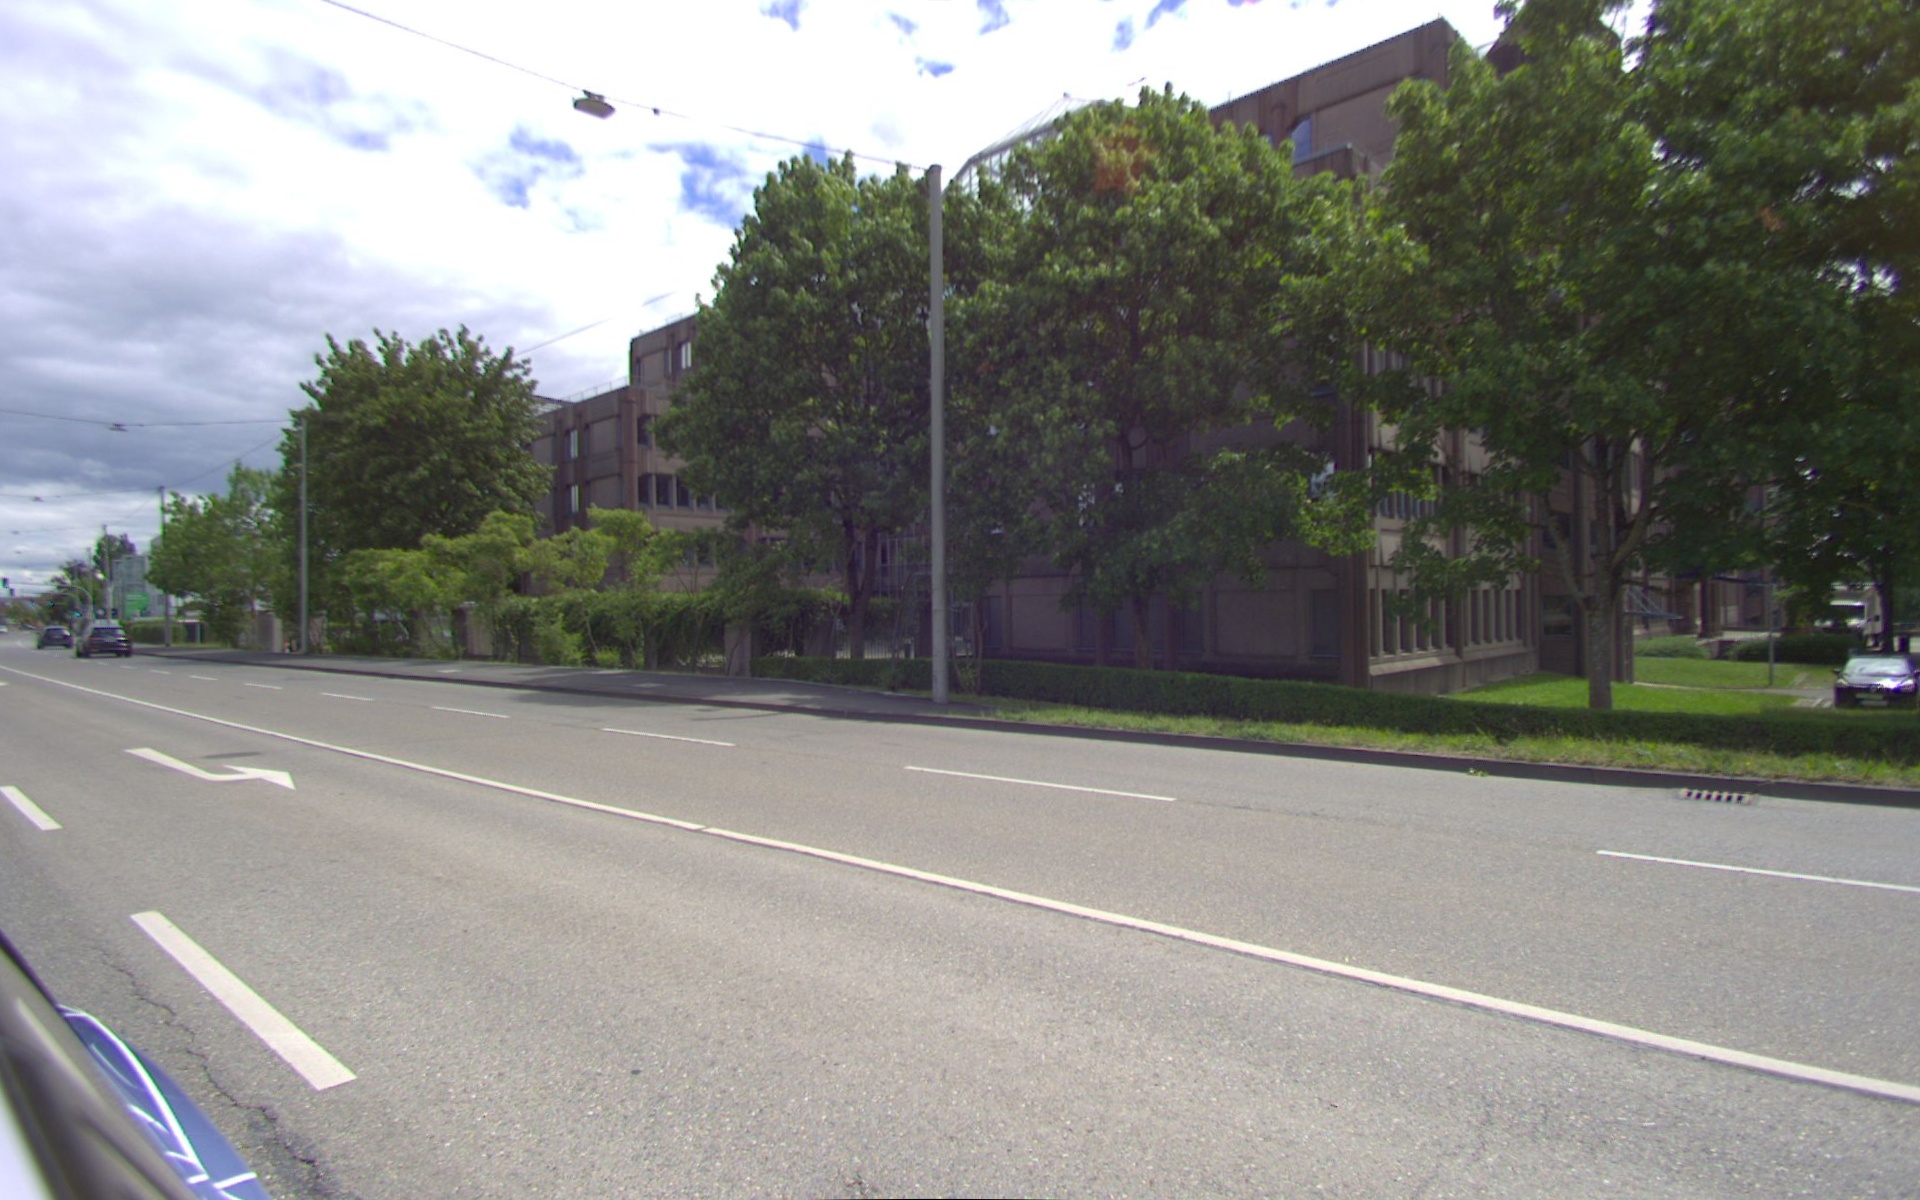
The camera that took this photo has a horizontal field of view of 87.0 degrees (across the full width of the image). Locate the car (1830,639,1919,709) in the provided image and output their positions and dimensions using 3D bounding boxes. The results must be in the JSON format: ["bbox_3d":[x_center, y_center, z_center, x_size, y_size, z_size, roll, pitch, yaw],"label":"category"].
[{"bbox_3d":[24.953,1.977,27.348,3.940,1.741,1.788,4,-4,-44],"label":"car"}]

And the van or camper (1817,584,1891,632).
[{"bbox_3d":[42.001,0.357,47.660,2.356,2.120,5.136,-1,0,39],"label":"van or camper"}]

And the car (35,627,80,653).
[{"bbox_3d":[-60.589,2.644,67.940,4.311,1.597,1.777,-1,0,42],"label":"car"}]

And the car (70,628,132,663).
[{"bbox_3d":[-43.121,2.241,50.783,4.571,1.627,1.847,-1,-1,43],"label":"car"}]

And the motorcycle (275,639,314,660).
[{"bbox_3d":[-41.731,3.075,63.475,0.745,1.254,1.880,-1,-1,41],"label":"motorcycle"}]
